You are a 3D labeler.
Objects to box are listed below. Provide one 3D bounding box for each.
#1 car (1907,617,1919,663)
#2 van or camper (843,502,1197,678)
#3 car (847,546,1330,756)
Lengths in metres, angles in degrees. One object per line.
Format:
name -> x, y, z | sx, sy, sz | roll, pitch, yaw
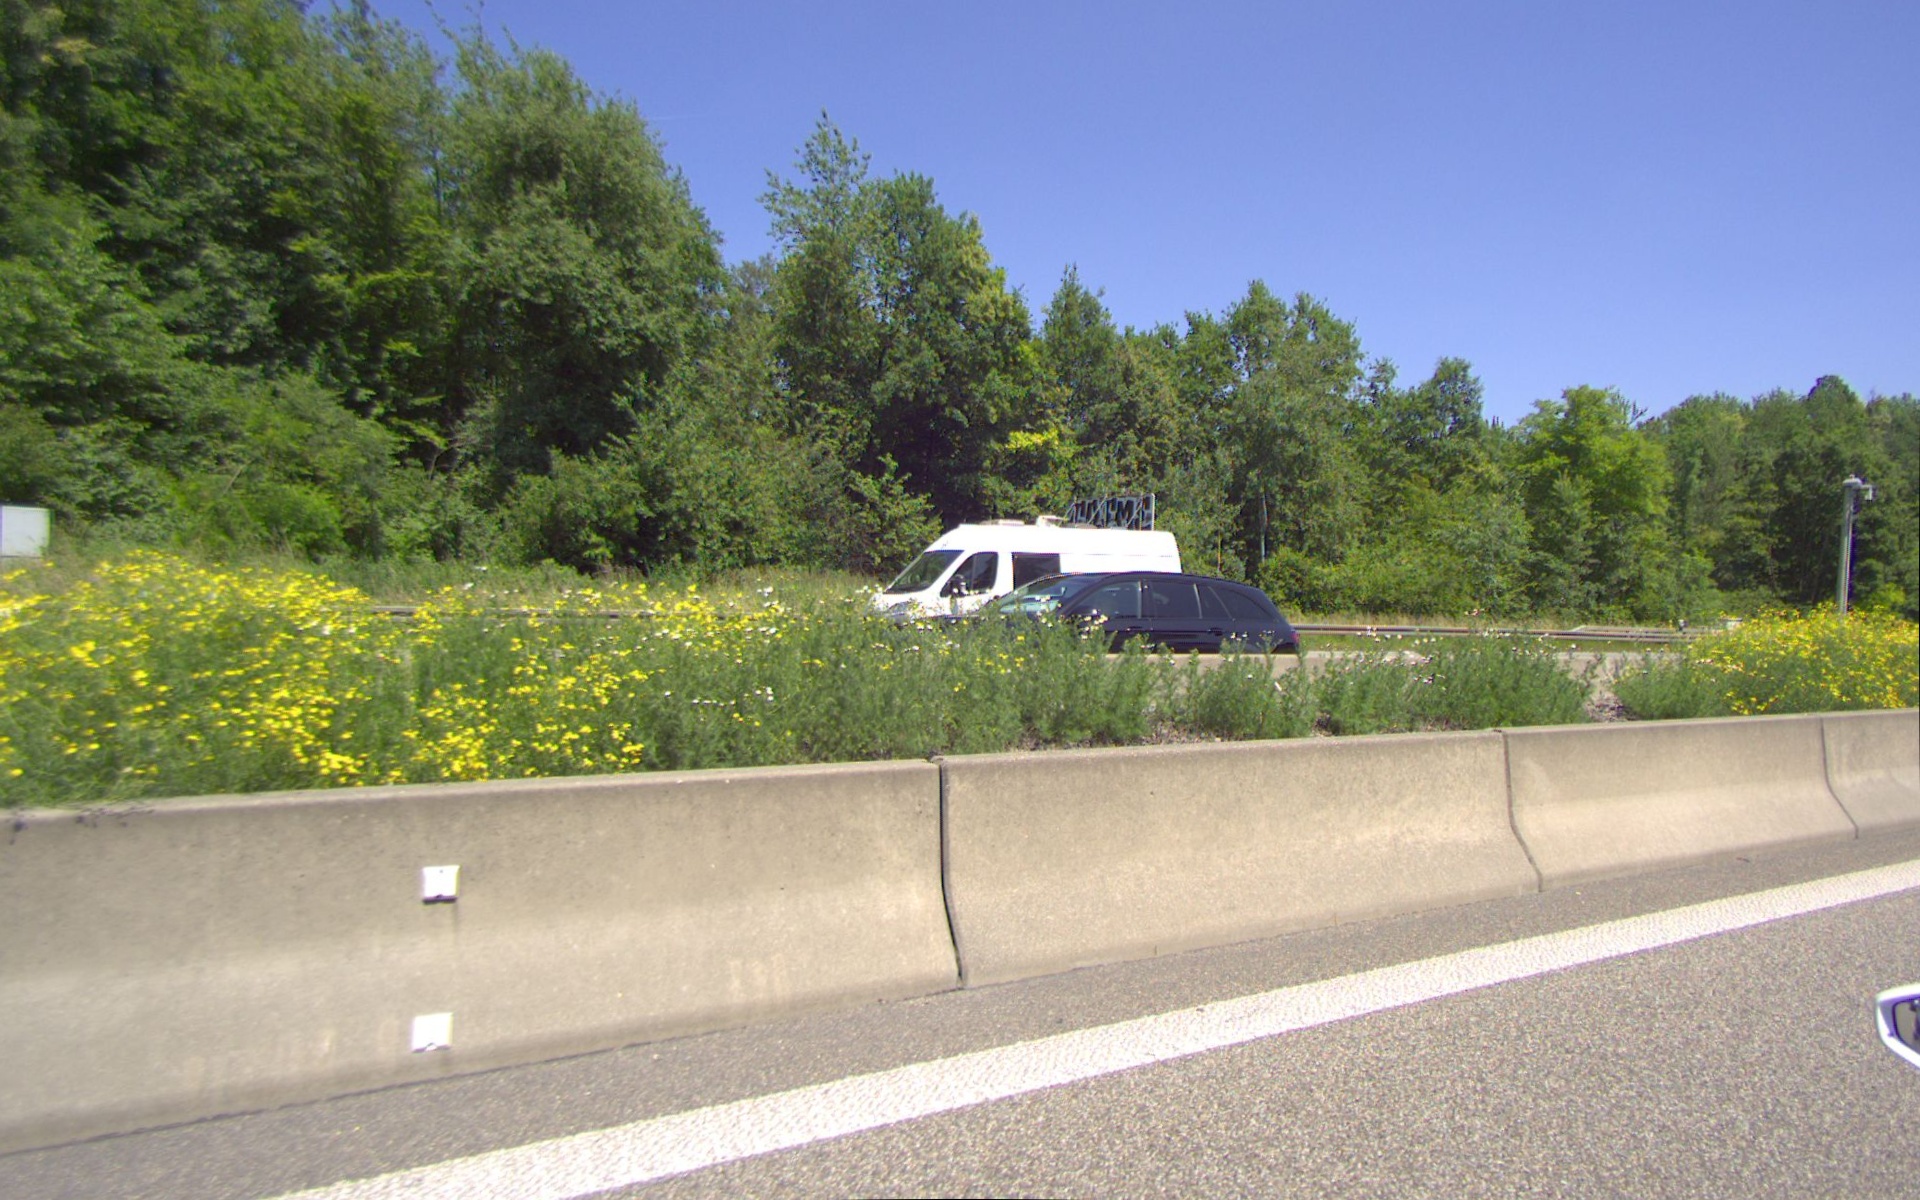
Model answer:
car -> 37.824, 1.551, 37.973 | 4.096, 1.731, 1.787 | 1, 0, -29
van or camper -> 1.157, -0.091, 17.949 | 6.075, 2.737, 2.077 | 2, 0, -28
car -> 1.360, 0.508, 10.213 | 4.569, 1.732, 1.916 | 3, 0, -28
